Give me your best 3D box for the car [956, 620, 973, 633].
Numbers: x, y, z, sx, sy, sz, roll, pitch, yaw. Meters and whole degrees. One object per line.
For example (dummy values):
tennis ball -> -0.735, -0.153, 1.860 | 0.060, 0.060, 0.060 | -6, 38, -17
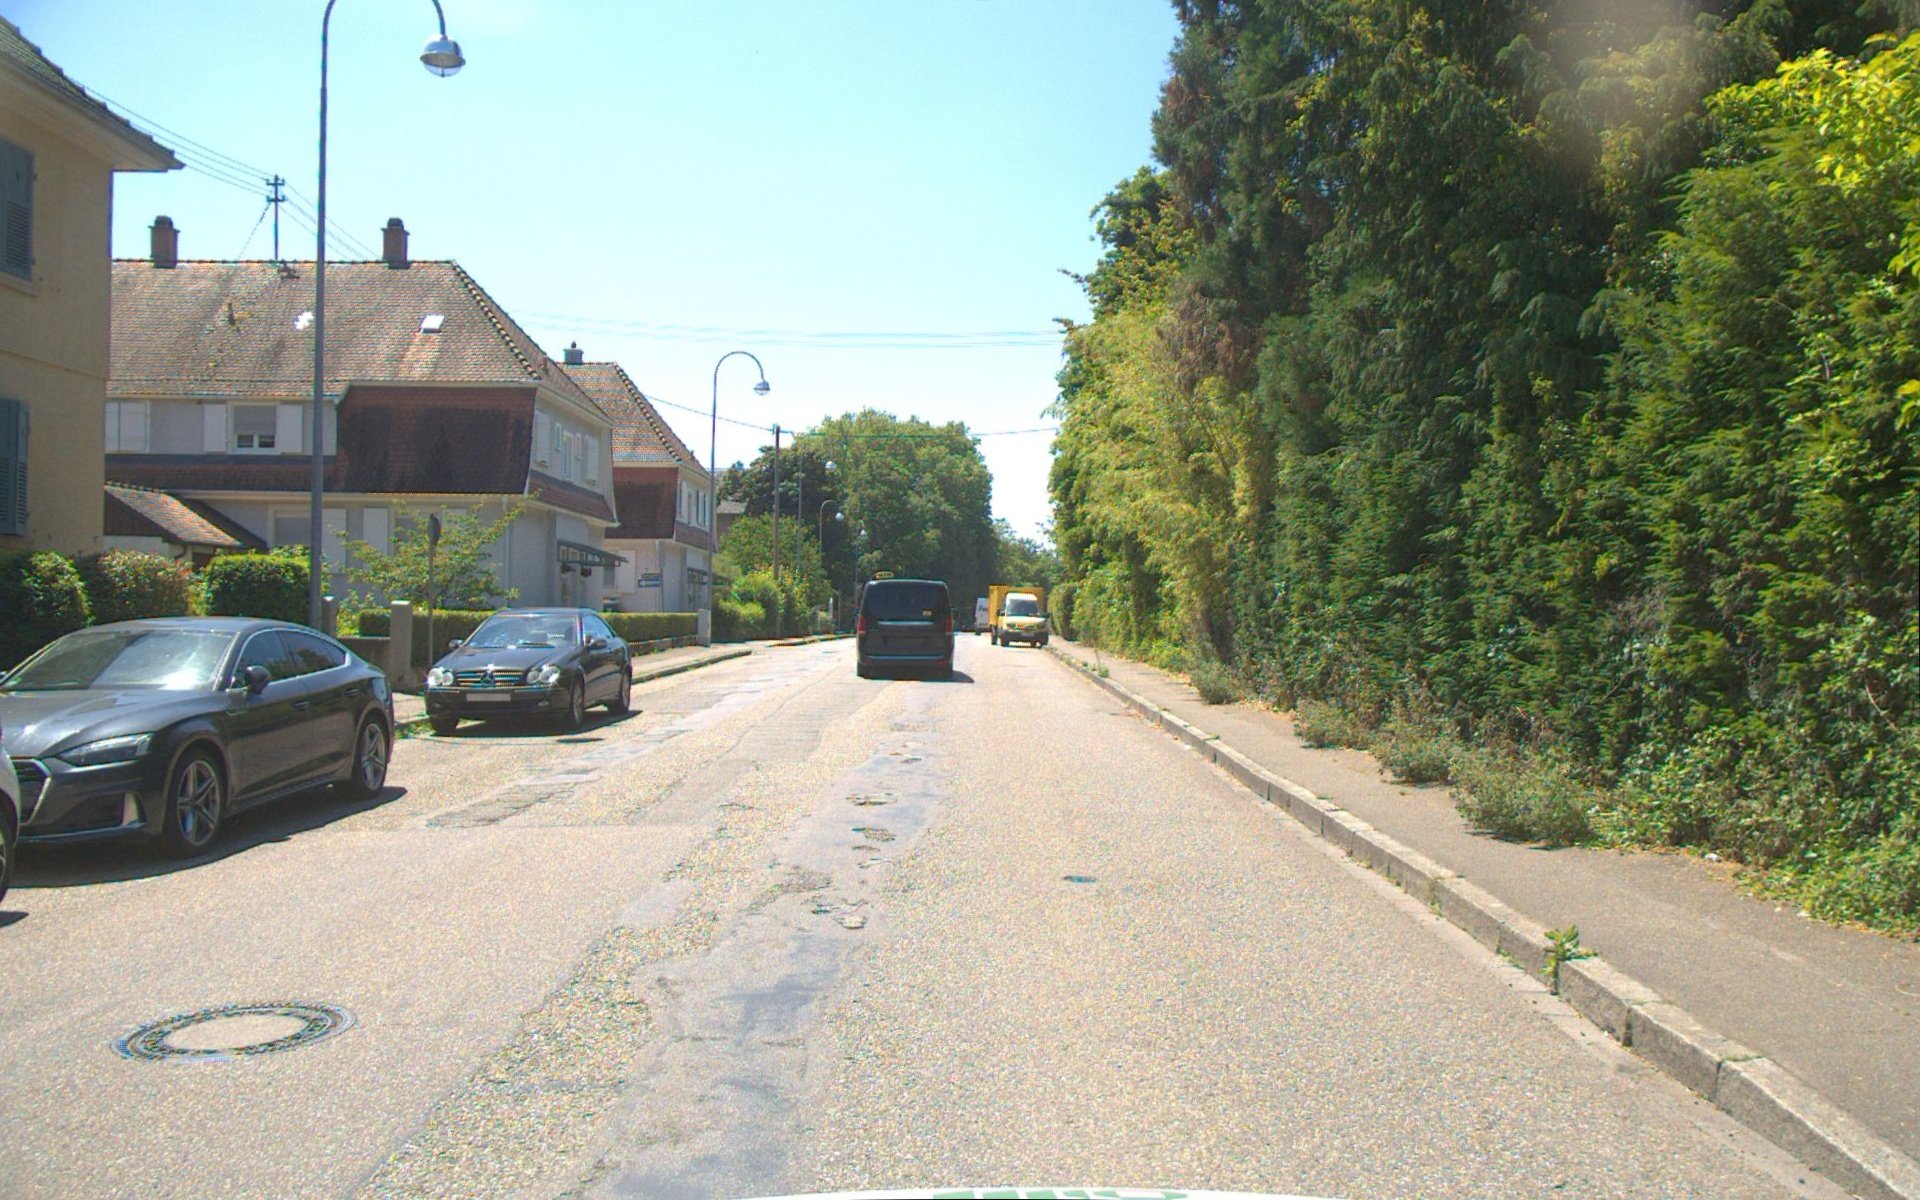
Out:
car -> 0.573, 3.075, 192.630 | 1.515, 1.474, 3.008 | 0, 0, 9

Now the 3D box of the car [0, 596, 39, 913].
car -> -5.433, 0.746, 6.513 | 1.631, 1.519, 3.478 | -1, 0, 1

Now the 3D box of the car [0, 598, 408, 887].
car -> -5.271, 0.759, 11.024 | 1.631, 1.519, 4.466 | 1, 0, 1

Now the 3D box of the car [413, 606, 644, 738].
car -> -5.180, 0.801, 20.436 | 1.631, 1.410, 4.380 | -1, 0, 1

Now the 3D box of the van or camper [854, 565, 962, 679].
van or camper -> -0.958, 0.431, 33.001 | 1.863, 2.049, 5.270 | 1, -1, 1

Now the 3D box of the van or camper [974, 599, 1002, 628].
van or camper -> 2.004, 0.977, 118.463 | 1.952, 2.049, 4.000 | 0, -1, 1

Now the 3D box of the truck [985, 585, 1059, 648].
truck -> 2.310, 0.623, 63.640 | 2.309, 2.298, 6.088 | 0, -1, -3
